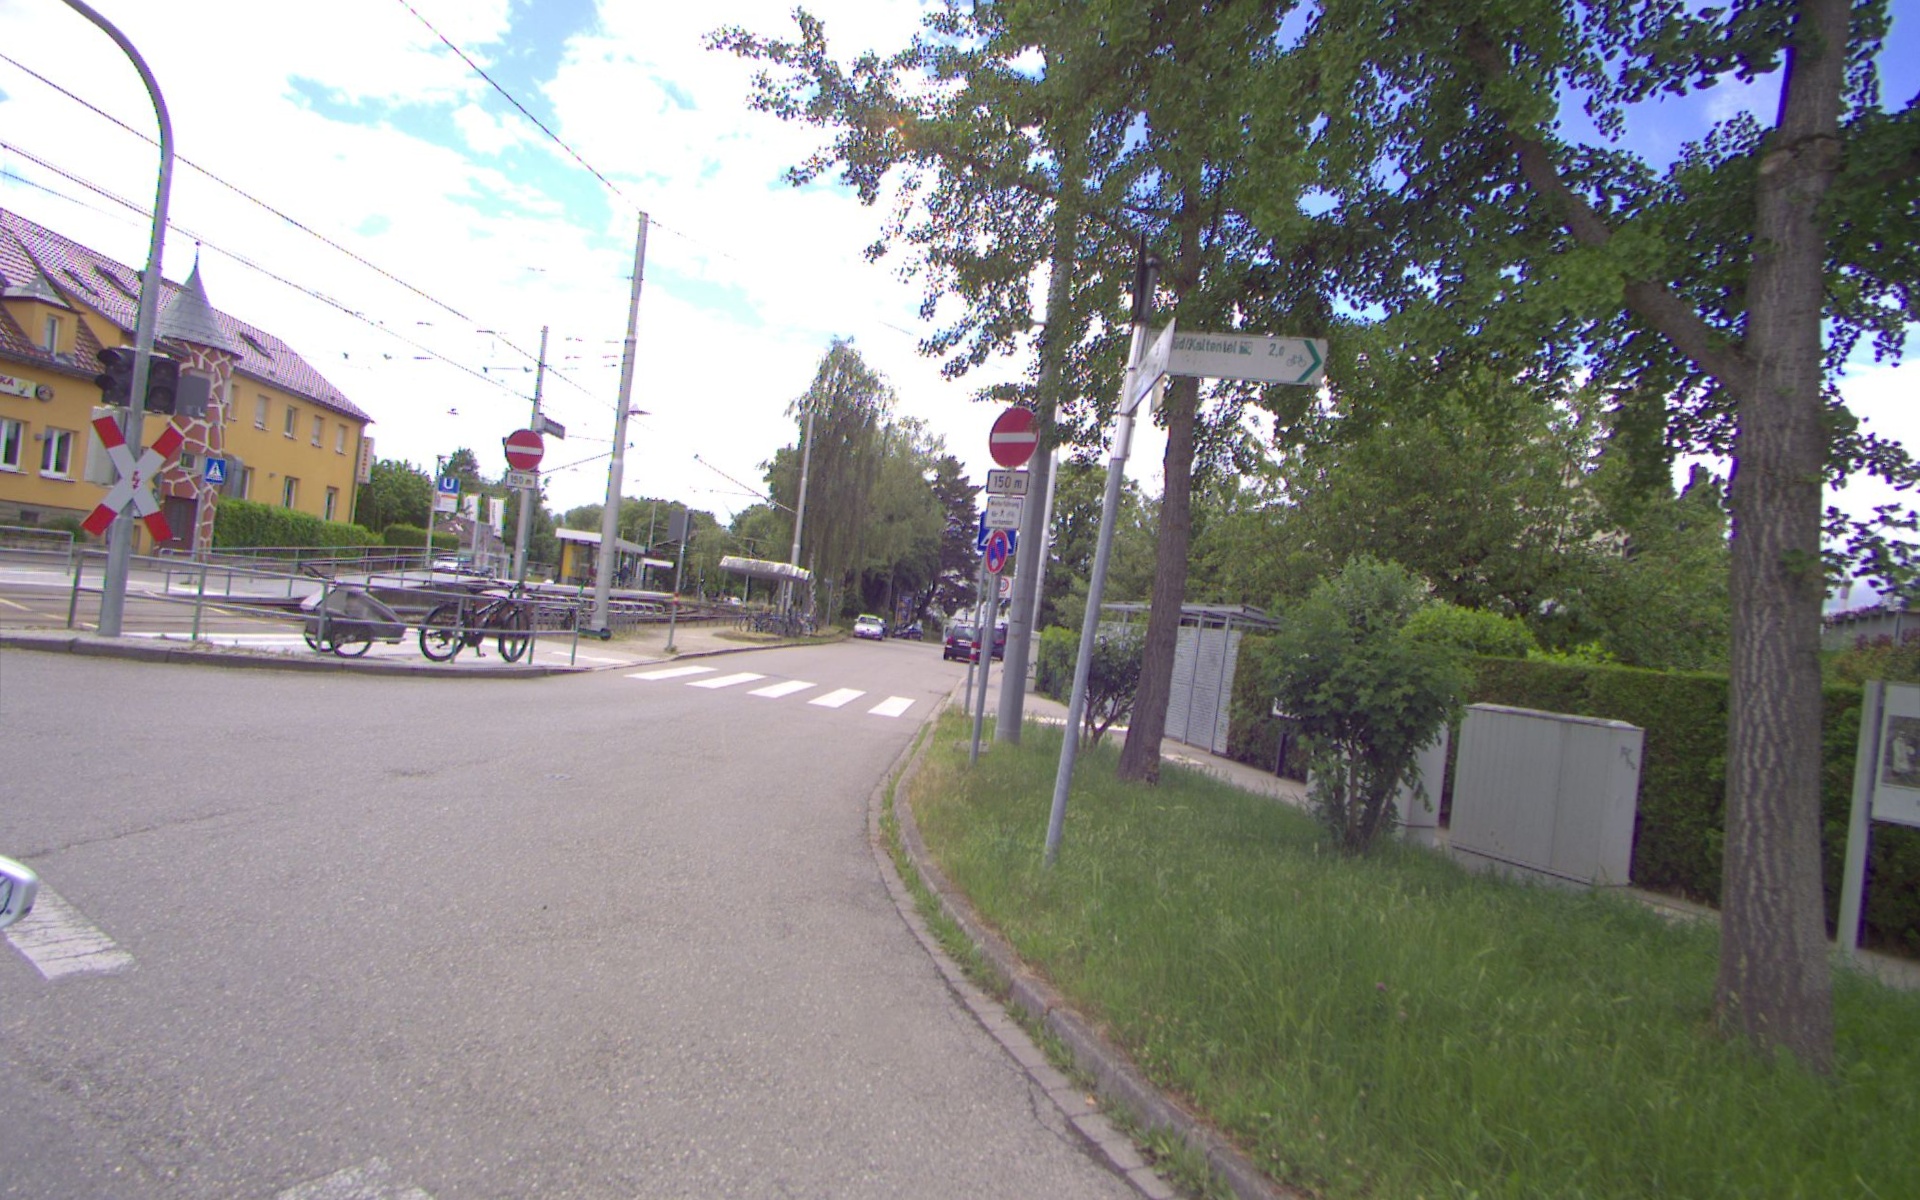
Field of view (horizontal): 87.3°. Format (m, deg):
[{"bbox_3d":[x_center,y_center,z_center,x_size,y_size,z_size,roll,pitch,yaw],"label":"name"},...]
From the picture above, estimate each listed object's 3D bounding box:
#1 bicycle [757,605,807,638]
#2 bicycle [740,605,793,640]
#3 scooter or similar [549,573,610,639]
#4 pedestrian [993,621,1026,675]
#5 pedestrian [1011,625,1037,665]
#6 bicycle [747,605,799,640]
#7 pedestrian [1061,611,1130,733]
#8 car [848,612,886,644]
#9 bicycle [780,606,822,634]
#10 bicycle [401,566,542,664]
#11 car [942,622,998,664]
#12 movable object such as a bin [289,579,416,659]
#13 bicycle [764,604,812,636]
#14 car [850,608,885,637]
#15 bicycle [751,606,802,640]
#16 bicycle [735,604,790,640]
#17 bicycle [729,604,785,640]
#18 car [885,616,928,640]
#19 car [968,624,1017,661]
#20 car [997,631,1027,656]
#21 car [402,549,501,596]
[{"bbox_3d":[-6.938,0.829,39.327,1.738,1.054,0.557,7,0,1],"label":"bicycle"},{"bbox_3d":[-7.076,0.813,36.858,1.738,1.054,0.557,7,0,1],"label":"bicycle"},{"bbox_3d":[-8.363,0.131,22.120,1.031,1.332,0.489,6,1,2],"label":"scooter or similar"},{"bbox_3d":[1.671,1.617,33.954,0.796,1.706,0.948,7,0,-5],"label":"pedestrian"},{"bbox_3d":[3.041,2.121,47.631,0.814,1.792,0.682,7,0,35],"label":"pedestrian"},{"bbox_3d":[-6.996,0.846,37.715,1.738,1.054,0.557,7,0,1],"label":"bicycle"},{"bbox_3d":[2.286,1.211,17.054,0.617,1.939,0.826,6,1,-23],"label":"pedestrian"},{"bbox_3d":[-5.656,1.657,60.992,2.033,1.592,4.258,7,-1,-5],"label":"car"},{"bbox_3d":[-7.262,0.923,45.977,1.741,1.054,0.556,7,0,-9],"label":"bicycle"},{"bbox_3d":[-6.434,0.238,13.349,0.458,1.169,1.692,7,-1,22],"label":"bicycle"},{"bbox_3d":[0.487,1.863,43.397,1.787,1.503,4.426,7,-1,7],"label":"car"},{"bbox_3d":[-7.220,0.243,11.992,0.569,0.834,1.094,7,-1,26],"label":"movable object such as a bin"},{"bbox_3d":[-6.978,0.821,40.912,1.738,1.054,0.557,7,0,1],"label":"bicycle"},{"bbox_3d":[-6.198,1.481,67.317,2.033,1.592,4.258,7,-1,-5],"label":"car"},{"bbox_3d":[-6.991,0.871,38.427,1.738,1.054,0.557,7,0,1],"label":"bicycle"},{"bbox_3d":[-7.083,0.789,36.139,1.738,1.054,0.557,7,0,1],"label":"bicycle"},{"bbox_3d":[-7.093,0.772,35.236,1.738,1.054,0.557,7,0,1],"label":"bicycle"},{"bbox_3d":[-4.452,2.349,83.663,1.890,1.592,4.262,7,-1,20],"label":"car"},{"bbox_3d":[1.811,2.293,53.965,1.786,1.655,4.844,7,-1,10],"label":"car"},{"bbox_3d":[3.808,3.180,72.710,1.728,1.505,4.935,6,-2,7],"label":"car"},{"bbox_3d":[-23.080,-1.202,45.869,2.321,1.582,4.373,8,-2,-3],"label":"car"}]
